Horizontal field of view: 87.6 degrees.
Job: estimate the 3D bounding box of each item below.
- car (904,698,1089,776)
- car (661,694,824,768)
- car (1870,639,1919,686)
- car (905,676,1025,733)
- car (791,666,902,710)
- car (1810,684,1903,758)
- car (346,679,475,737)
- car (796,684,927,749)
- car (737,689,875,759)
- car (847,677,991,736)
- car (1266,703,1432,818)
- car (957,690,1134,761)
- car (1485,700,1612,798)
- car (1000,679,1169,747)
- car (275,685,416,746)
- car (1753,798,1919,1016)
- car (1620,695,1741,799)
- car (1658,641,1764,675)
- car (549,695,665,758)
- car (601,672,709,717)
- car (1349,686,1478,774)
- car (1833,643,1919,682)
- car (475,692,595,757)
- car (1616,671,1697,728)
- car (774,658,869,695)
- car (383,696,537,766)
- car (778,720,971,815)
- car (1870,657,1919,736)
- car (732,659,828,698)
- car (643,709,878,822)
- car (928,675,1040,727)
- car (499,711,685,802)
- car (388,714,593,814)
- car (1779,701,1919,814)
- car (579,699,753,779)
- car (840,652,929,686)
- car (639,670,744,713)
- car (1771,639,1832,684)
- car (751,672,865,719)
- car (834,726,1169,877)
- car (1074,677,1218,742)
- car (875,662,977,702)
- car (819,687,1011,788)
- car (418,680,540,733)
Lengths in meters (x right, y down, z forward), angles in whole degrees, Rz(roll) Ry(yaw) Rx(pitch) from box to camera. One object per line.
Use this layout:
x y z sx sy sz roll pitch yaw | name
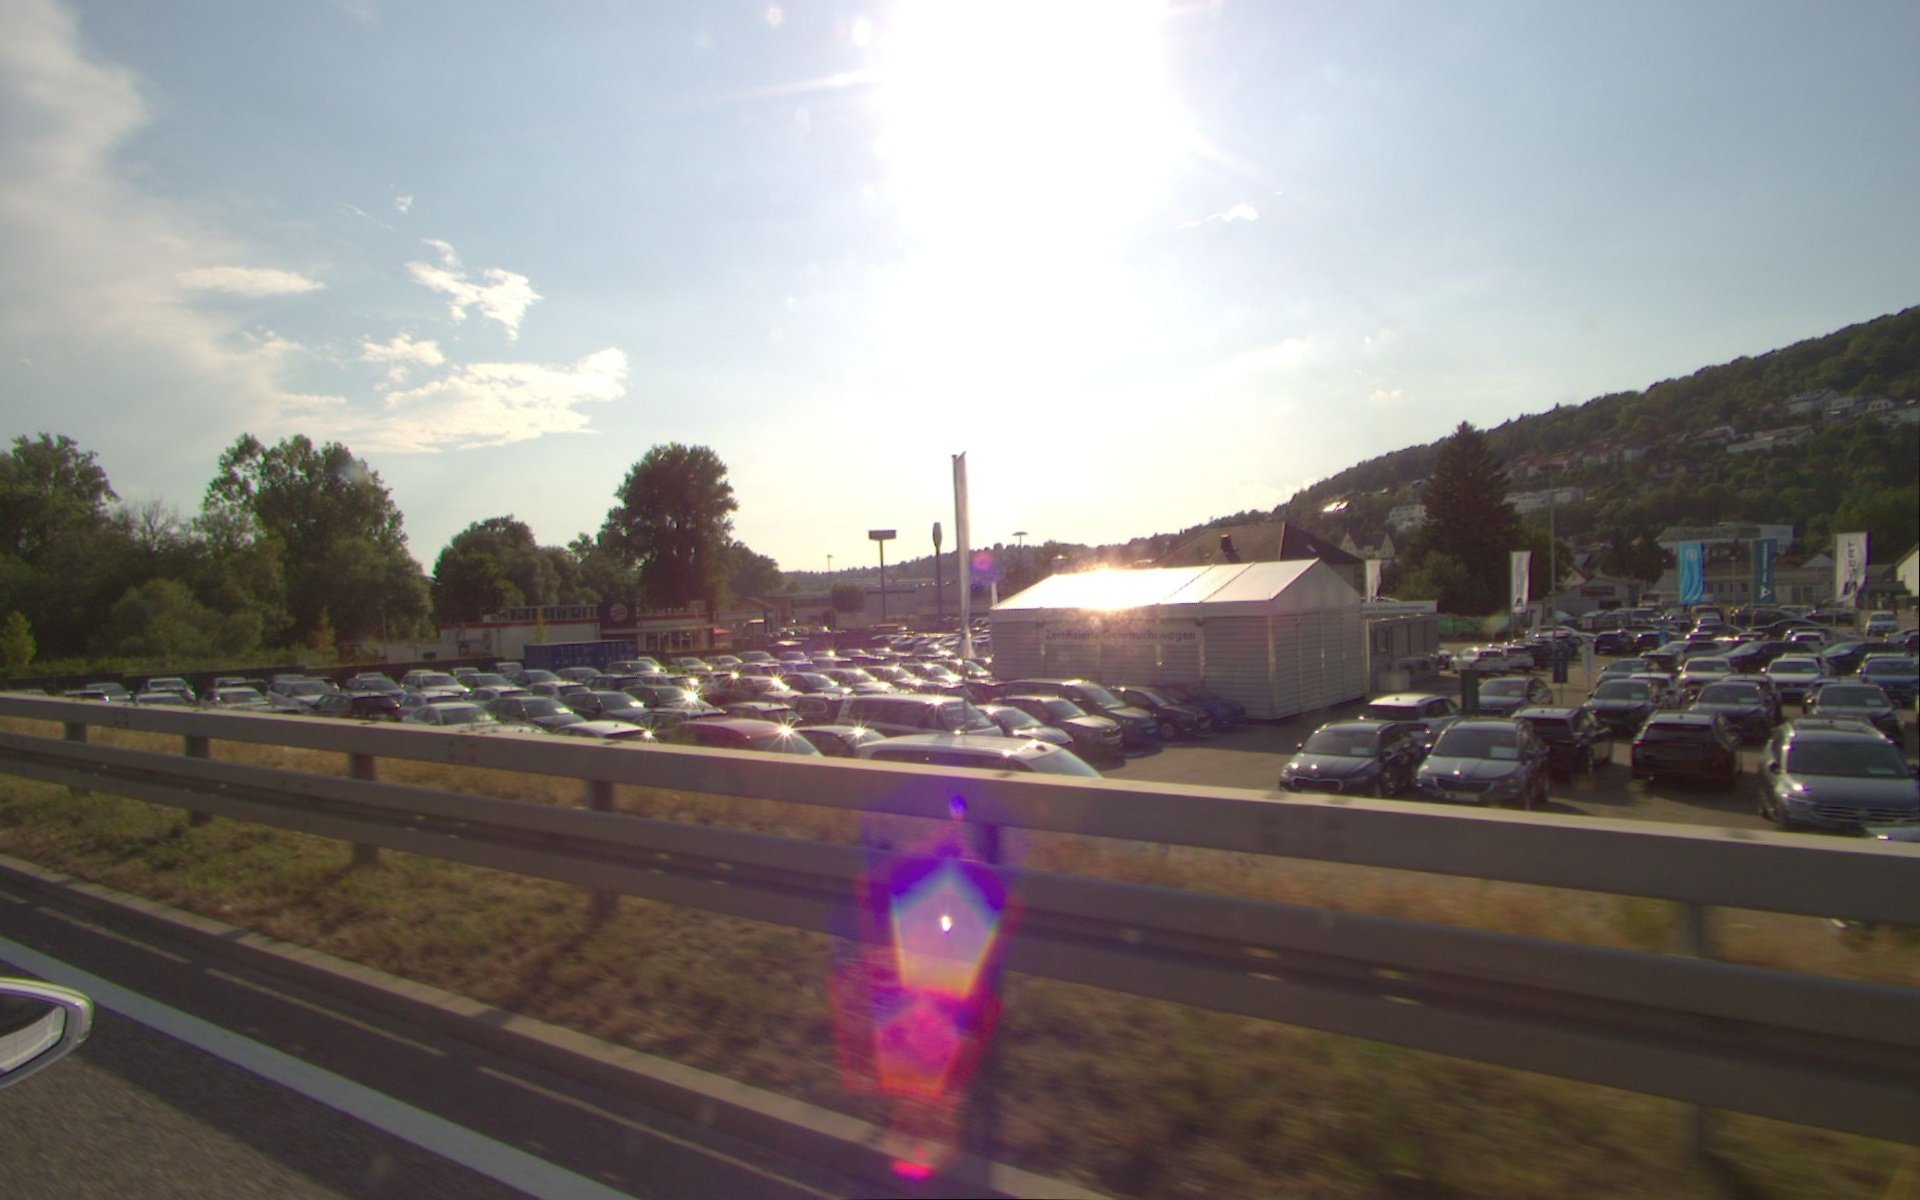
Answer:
0.867 3.439 25.821 4.678 1.541 1.870 -2 -2 42 | car
-6.096 3.550 27.837 4.670 1.657 1.873 -2 -2 37 | car
36.939 2.419 39.333 1.738 1.662 3.930 -2 -2 43 | car
0.154 3.585 34.924 3.951 1.705 1.768 -2 -2 38 | car
-4.866 3.689 42.626 4.670 1.657 1.873 -2 -2 37 | car
23.361 3.095 26.182 1.609 1.594 3.461 -2 -2 39 | car
-18.907 3.650 34.405 4.599 1.738 1.832 -2 -1 31 | car
-3.121 3.575 31.231 3.951 1.705 1.768 -2 -2 38 | car
-4.530 3.539 29.152 3.951 1.705 1.768 -2 -2 38 | car
-1.402 3.469 33.269 4.670 1.657 1.873 -2 -2 37 | car
7.889 3.085 20.080 1.863 1.657 4.407 -2 -2 39 | car
2.266 3.350 27.470 4.678 1.541 1.870 -2 -2 42 | car
13.455 3.272 22.777 1.863 1.657 4.407 -2 -2 39 | car
3.581 3.233 29.370 4.678 1.657 1.870 -2 -2 42 | car
-19.999 3.684 32.533 4.661 1.672 1.996 -2 -1 31 | car
10.190 2.950 9.260 4.249 1.646 1.734 -2 -1 32 | car
15.460 3.025 21.393 1.863 1.657 4.407 -2 -2 39 | car
39.482 3.042 52.691 4.355 1.657 1.886 -1 -1 -7 | car
-11.652 4.101 32.956 3.951 1.705 1.768 -2 -2 38 | car
-12.777 3.901 41.876 4.668 1.657 1.874 -2 -2 36 | car
11.210 3.092 24.585 1.863 1.657 4.407 -2 -2 39 | car
43.101 2.848 46.156 4.355 1.657 1.886 -1 -1 -7 | car
-13.252 3.807 31.158 3.951 1.705 1.768 -2 -2 38 | car
23.233 3.268 33.373 3.453 1.594 1.613 1 -2 -45 | car
-6.891 3.752 49.608 4.669 1.657 1.873 -2 -2 37 | car
-14.545 3.742 29.068 4.663 1.657 1.876 -2 -2 33 | car
-1.835 3.398 20.836 3.951 1.490 1.663 -2 -2 38 | car
27.924 2.747 29.001 3.959 2.039 1.982 0 -2 -43 | car
-8.645 3.724 47.997 4.669 1.657 1.873 -2 -2 37 | car
-3.976 3.105 19.538 4.670 1.646 1.873 -2 -2 37 | car
0.862 3.740 37.526 3.951 1.705 1.768 -2 -2 38 | car
-8.841 3.630 23.886 4.668 1.657 1.874 -2 -2 36 | car
-10.216 3.447 21.681 4.664 1.646 1.876 -2 -2 33 | car
17.885 3.068 20.326 1.863 1.657 4.407 -2 -2 39 | car
-7.717 3.526 26.092 4.667 1.657 1.874 -2 -2 35 | car
-4.088 3.662 53.560 4.669 1.657 1.873 -2 -2 37 | car
-11.850 3.984 44.075 4.666 1.657 1.875 -2 -2 35 | car
34.627 2.486 41.163 1.738 1.662 3.930 -2 -2 43 | car
-6.227 3.829 40.699 4.670 1.657 1.873 -2 -2 37 | car
0.581 2.881 15.012 4.656 1.646 1.879 -2 -1 27 | car
5.625 3.269 30.451 3.951 1.705 1.768 -2 -2 38 | car
-1.604 3.767 46.252 4.515 1.657 1.873 -2 -2 37 | car
-1.173 3.206 24.178 4.678 1.955 1.870 -2 -2 42 | car
-17.520 3.808 36.394 4.665 1.657 1.875 -2 -2 34 | car
